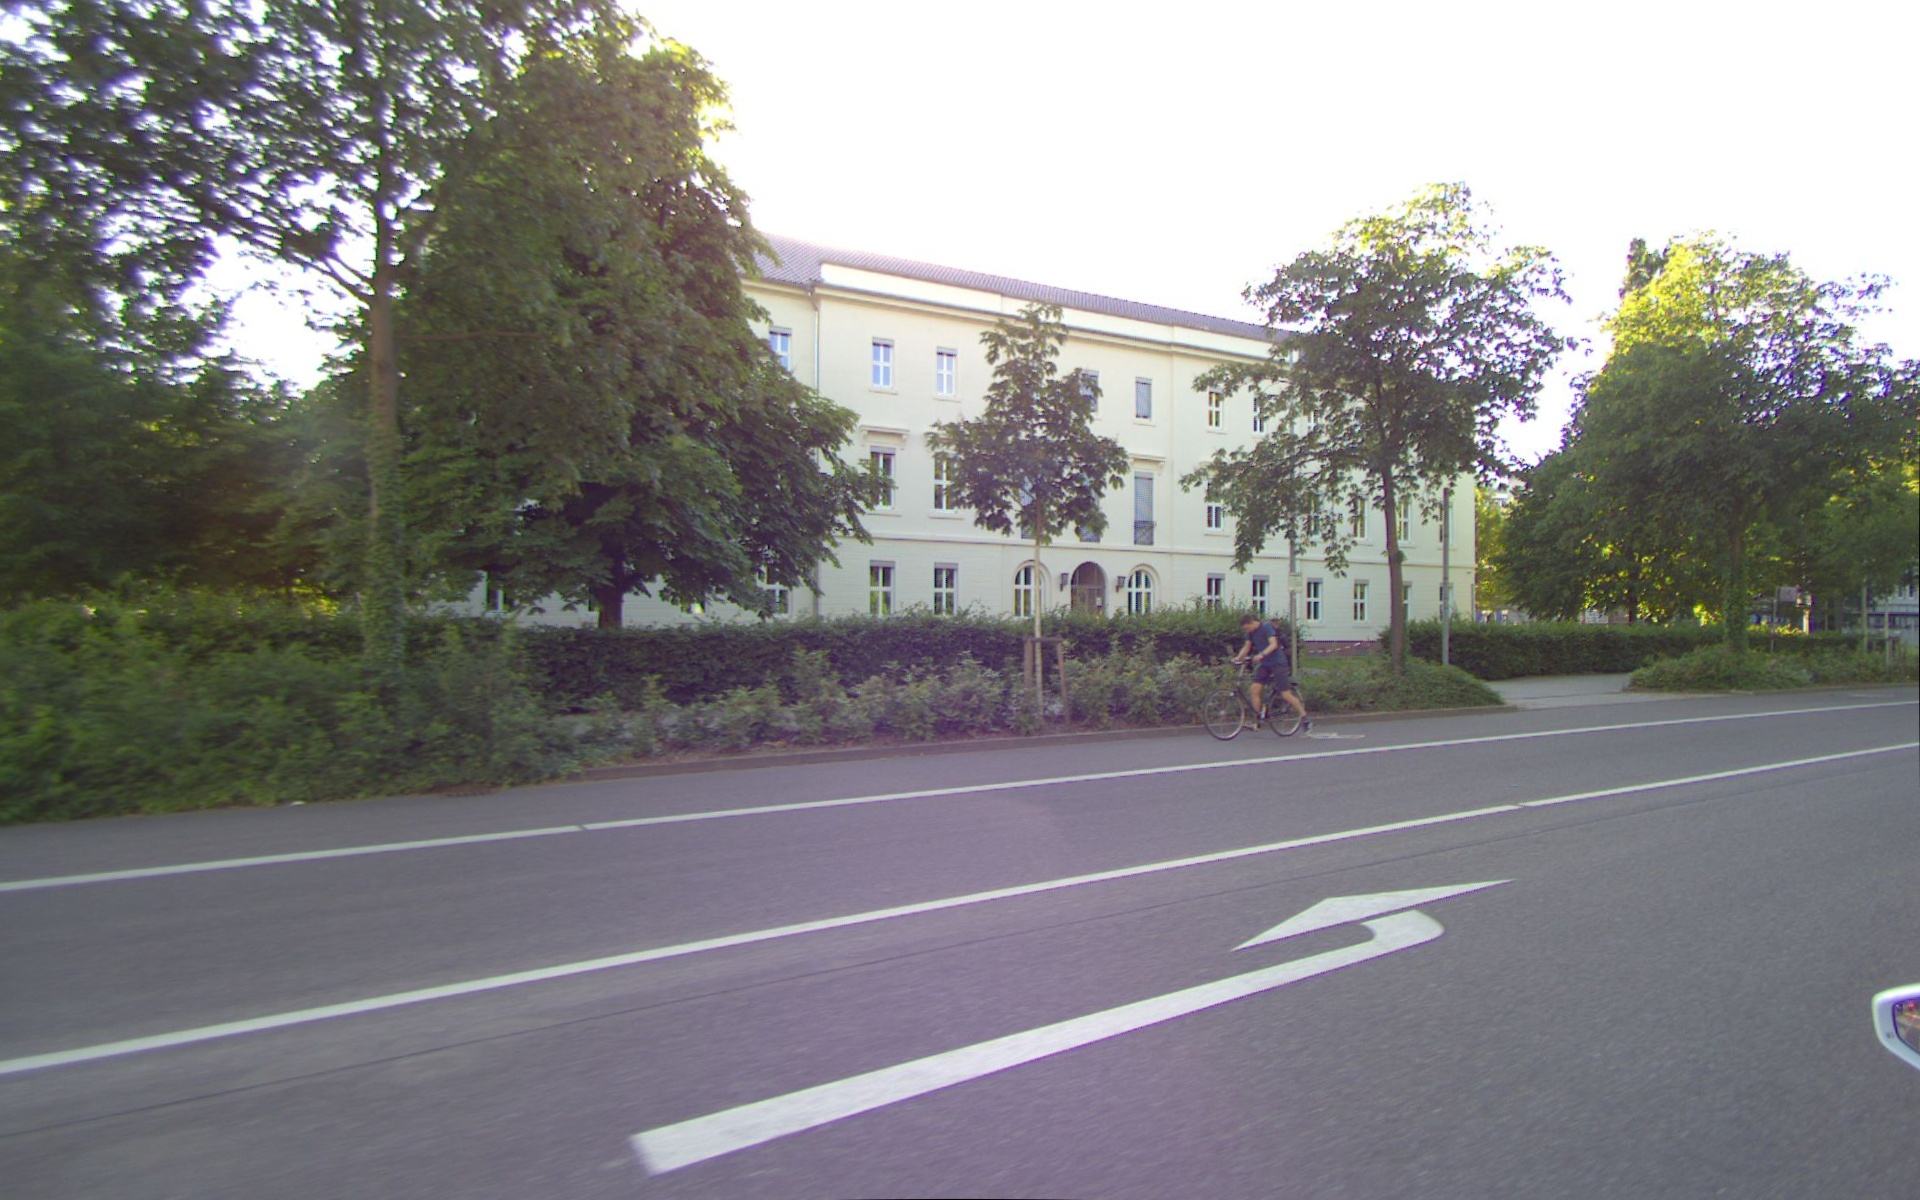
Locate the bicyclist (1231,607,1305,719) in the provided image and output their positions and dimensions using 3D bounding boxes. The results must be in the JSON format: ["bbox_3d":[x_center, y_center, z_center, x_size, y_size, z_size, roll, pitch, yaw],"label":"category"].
[{"bbox_3d":[4.373,0.887,14.282,0.716,1.542,0.626,0,-4,-31],"label":"bicyclist"}]

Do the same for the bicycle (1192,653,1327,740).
[{"bbox_3d":[4.245,1.338,14.179,2.004,1.135,0.594,1,-5,-31],"label":"bicycle"}]

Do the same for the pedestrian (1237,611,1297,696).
[{"bbox_3d":[6.959,1.206,22.774,0.989,1.875,0.852,1,-2,-30],"label":"pedestrian"}]
